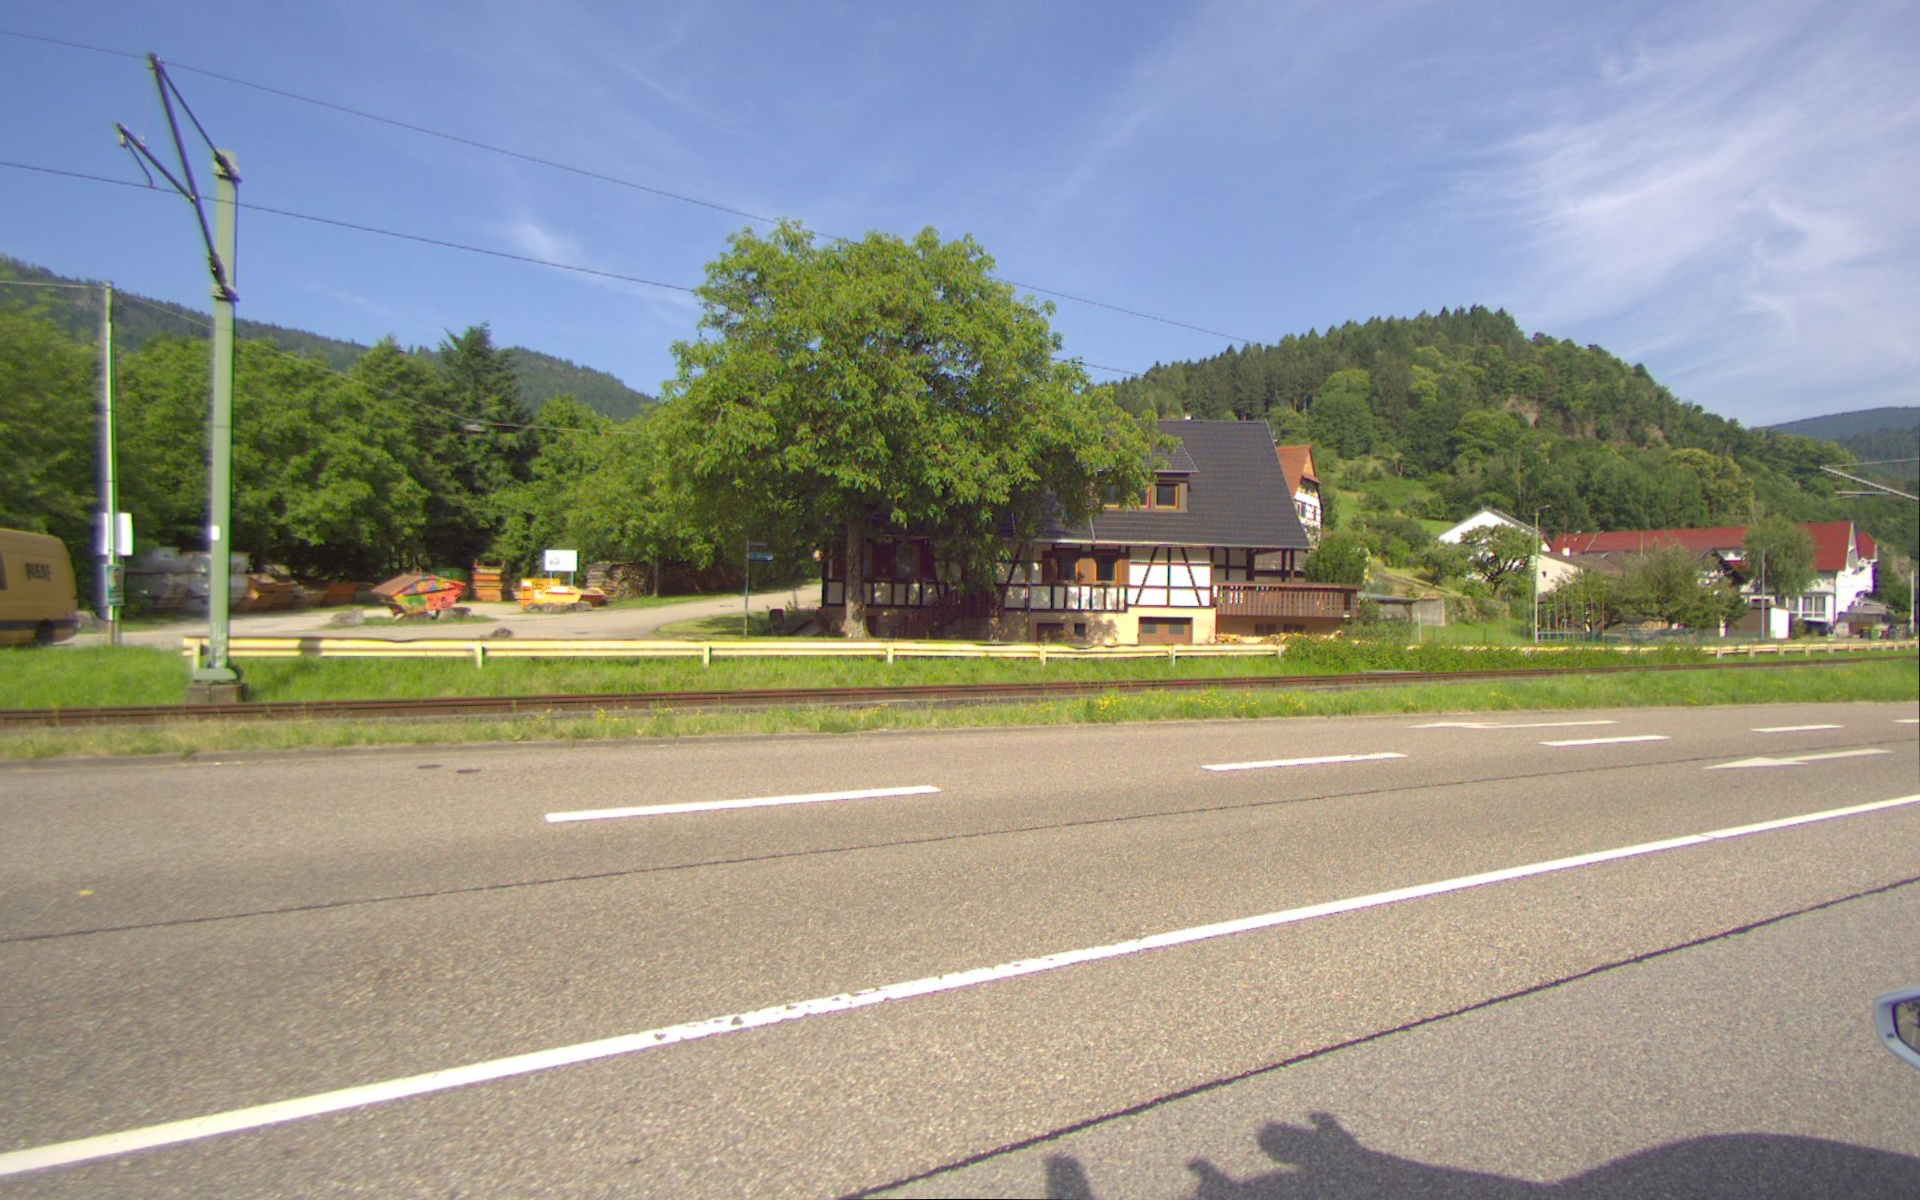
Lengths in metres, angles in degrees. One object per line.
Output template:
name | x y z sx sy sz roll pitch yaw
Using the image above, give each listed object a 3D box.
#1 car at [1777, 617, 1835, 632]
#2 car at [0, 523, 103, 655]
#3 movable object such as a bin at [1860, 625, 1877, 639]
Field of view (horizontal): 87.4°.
car | 81.006 2.360 96.234 1.722 1.287 4.060 1 0 -40
car | -19.651 -0.226 18.932 2.903 2.490 7.056 1 0 -19
movable object such as a bin | 80.692 2.829 89.234 1.127 1.207 1.087 1 0 43
